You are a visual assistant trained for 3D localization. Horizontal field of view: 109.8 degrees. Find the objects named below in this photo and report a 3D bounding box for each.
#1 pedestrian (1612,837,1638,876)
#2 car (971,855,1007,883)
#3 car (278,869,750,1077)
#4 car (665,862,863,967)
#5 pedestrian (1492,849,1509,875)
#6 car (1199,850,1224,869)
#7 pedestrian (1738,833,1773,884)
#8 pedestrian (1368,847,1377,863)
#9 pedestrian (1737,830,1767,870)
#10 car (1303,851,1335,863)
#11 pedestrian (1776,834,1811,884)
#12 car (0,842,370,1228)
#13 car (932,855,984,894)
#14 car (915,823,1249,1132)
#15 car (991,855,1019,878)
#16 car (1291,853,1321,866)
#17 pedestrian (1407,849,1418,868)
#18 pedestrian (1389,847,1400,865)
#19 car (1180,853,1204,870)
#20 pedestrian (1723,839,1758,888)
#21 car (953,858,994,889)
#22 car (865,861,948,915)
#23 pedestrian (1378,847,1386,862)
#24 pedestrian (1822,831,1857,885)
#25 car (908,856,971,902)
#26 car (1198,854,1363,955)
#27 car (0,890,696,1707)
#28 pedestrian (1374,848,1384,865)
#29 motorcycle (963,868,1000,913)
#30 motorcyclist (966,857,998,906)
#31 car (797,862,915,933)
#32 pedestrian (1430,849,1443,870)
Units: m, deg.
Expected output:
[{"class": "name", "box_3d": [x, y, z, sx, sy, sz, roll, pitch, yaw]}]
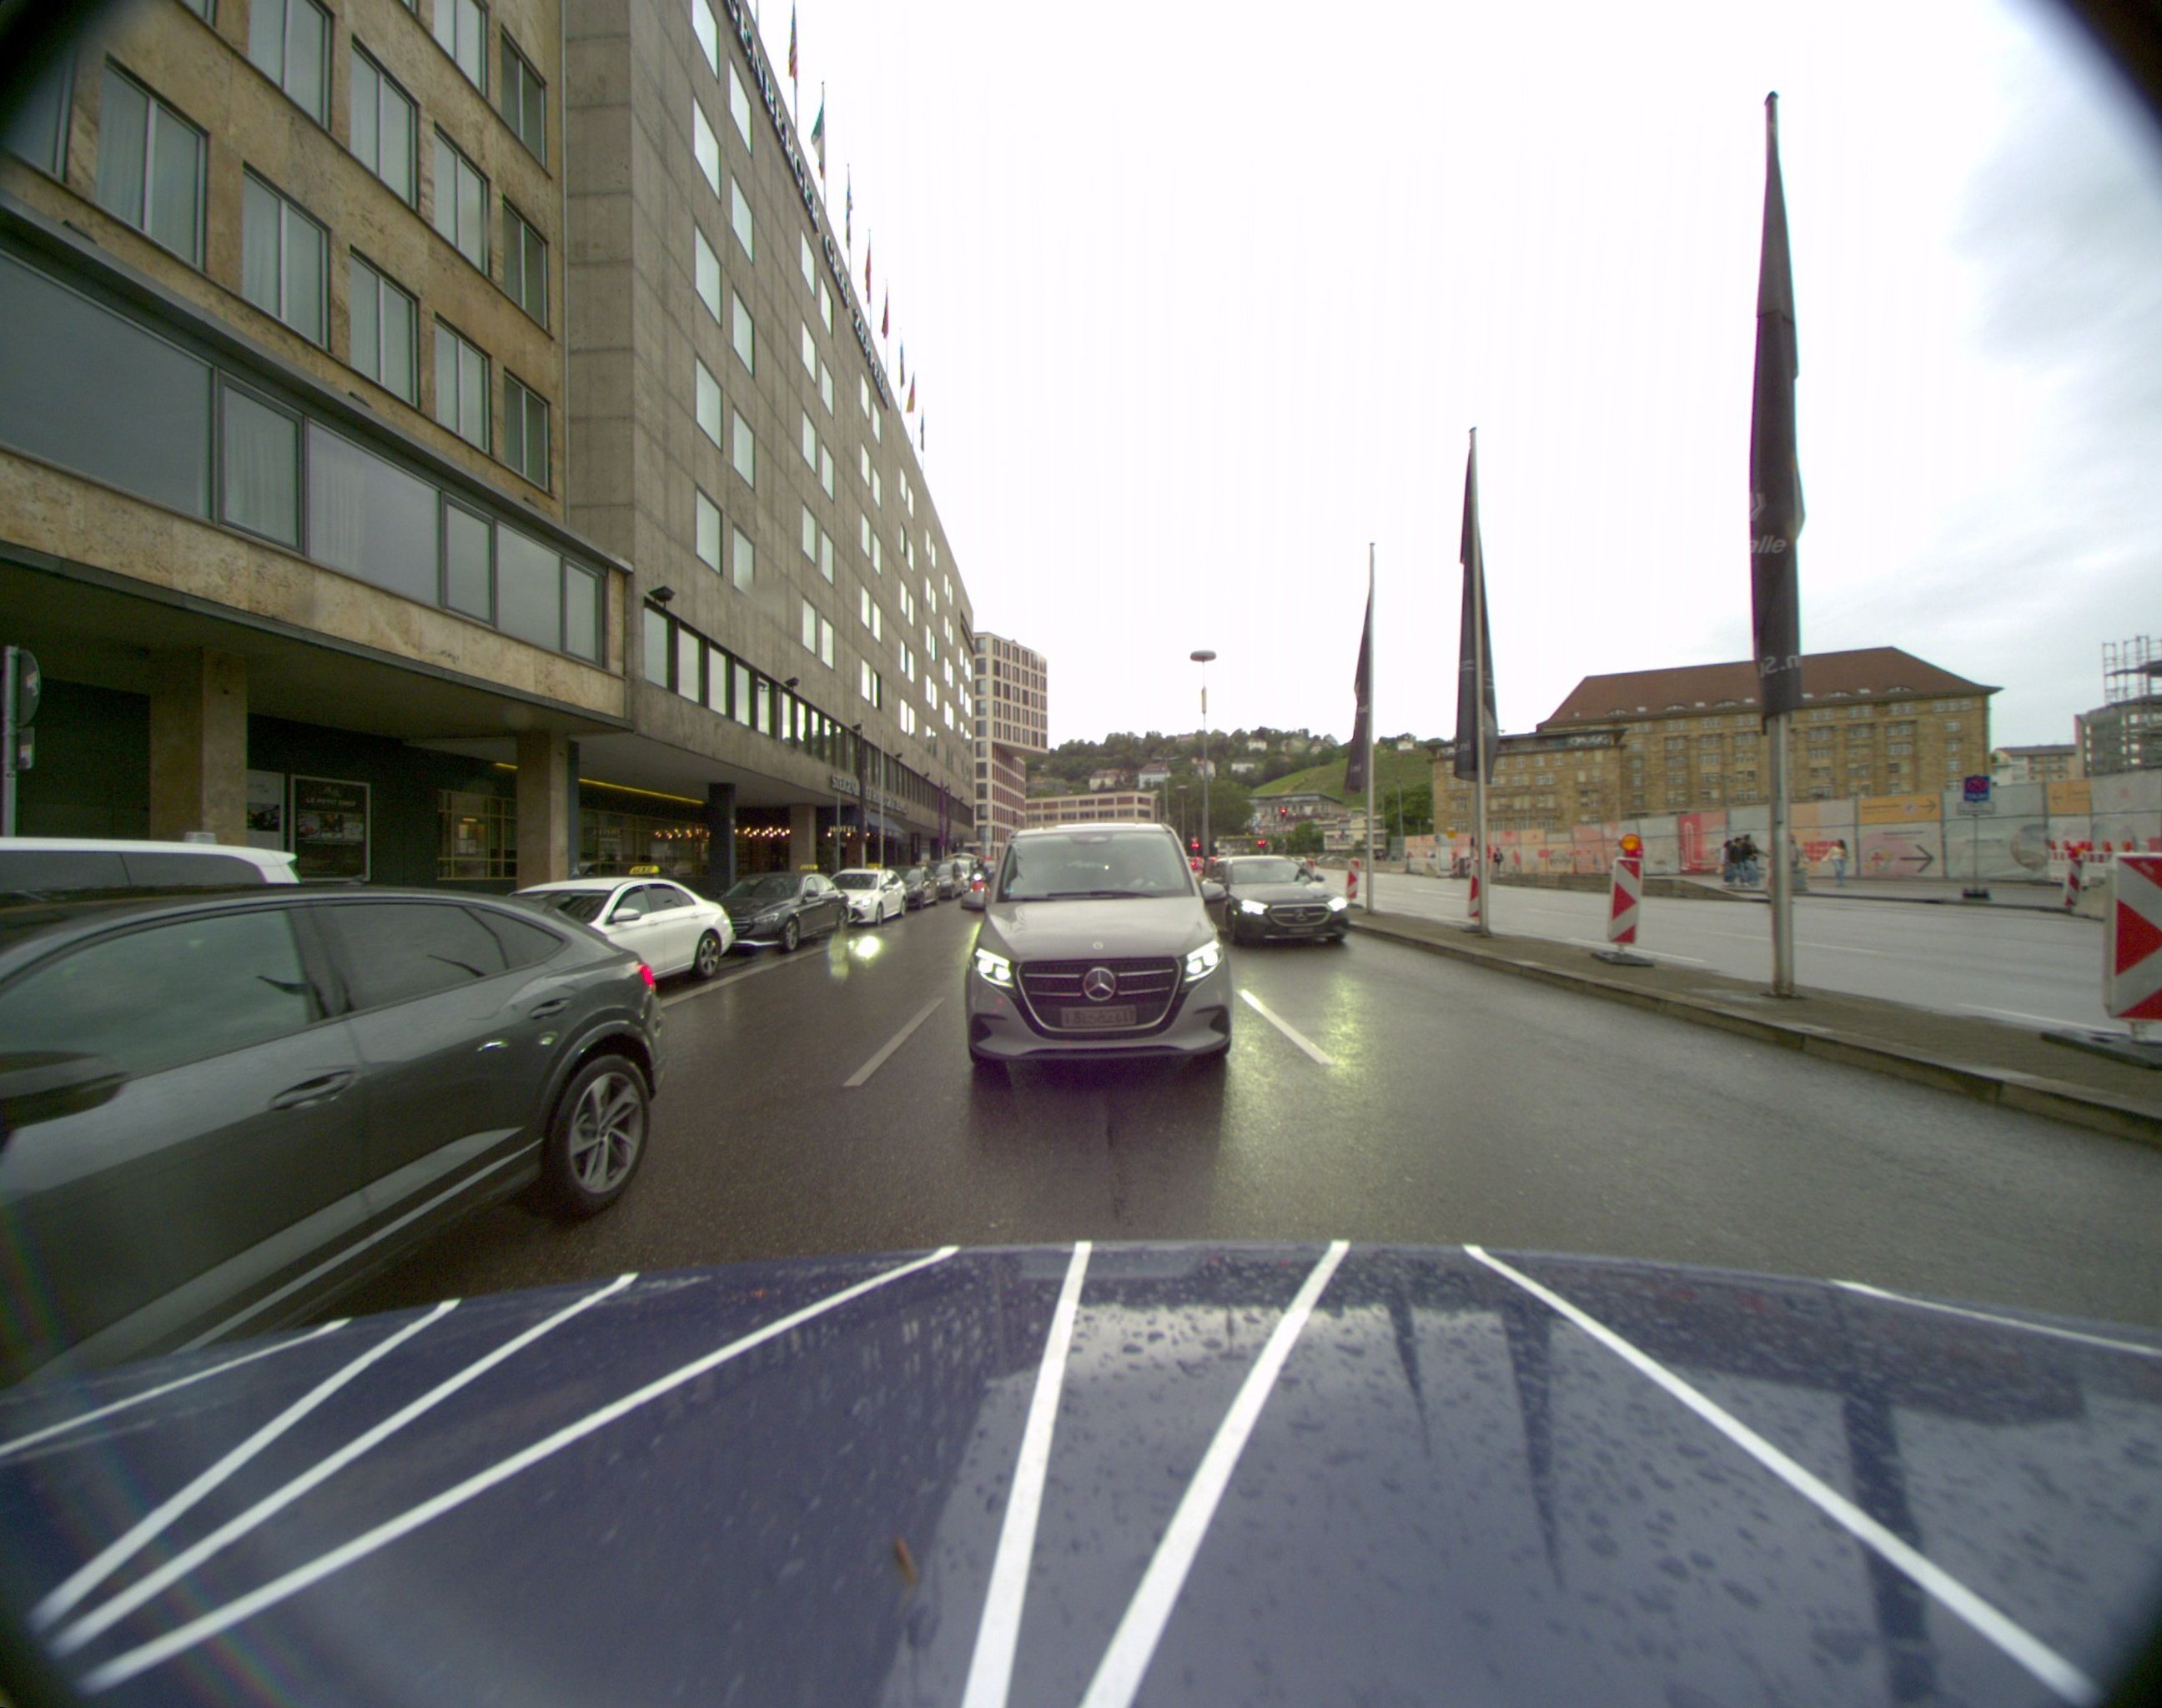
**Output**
[{"class": "pedestrian", "box_3d": [26.159, 0.117, 36.555, 0.664, 1.825, 0.720, -2, 1, 1]}, {"class": "car", "box_3d": [-5.873, 0.914, 48.898, 1.731, 1.604, 4.001, -2, 1, 0]}, {"class": "car", "box_3d": [-6.093, 1.100, 9.218, 1.879, 1.628, 5.010, -2, 1, 0]}, {"class": "car", "box_3d": [-6.076, 1.051, 15.301, 1.879, 1.628, 4.814, -2, 1, 0]}, {"class": "pedestrian", "box_3d": [26.551, 0.527, 48.111, 0.715, 1.606, 0.544, -2, 1, 1]}, {"class": "car", "box_3d": [12.376, 0.500, 72.244, 1.785, 1.684, 3.916, -1, 0, 0]}, {"class": "pedestrian", "box_3d": [24.789, 0.175, 27.925, 0.714, 1.825, 0.718, -2, 1, 19]}, {"class": "pedestrian", "box_3d": [30.764, 0.086, 80.133, 0.715, 1.606, 0.544, -2, 1, 1]}, {"class": "pedestrian", "box_3d": [27.862, -0.170, 31.552, 0.715, 1.606, 0.544, -2, 1, 1]}, {"class": "car", "box_3d": [32.546, 0.426, 104.055, 3.993, 1.622, 2.002, -1, 0, 14]}, {"class": "pedestrian", "box_3d": [25.343, 0.179, 27.028, 0.714, 1.734, 0.564, -2, 1, 21]}, {"class": "car", "box_3d": [-6.324, 0.935, 3.215, 1.879, 1.909, 4.935, -2, 1, 0]}, {"class": "car", "box_3d": [-6.090, 0.957, 38.212, 1.731, 1.732, 4.814, -2, 1, 0]}, {"class": "car", "box_3d": [0.047, 0.749, 7.297, 1.998, 1.849, 5.160, -2, 1, 1]}, {"class": "car", "box_3d": [-5.904, 0.964, 59.219, 1.731, 1.604, 4.001, -2, 1, 0]}, {"class": "car", "box_3d": [34.799, 0.811, 117.595, 4.194, 1.846, 1.832, -2, 1, 6]}, {"class": "pedestrian", "box_3d": [28.913, 0.361, 66.279, 0.715, 1.606, 0.544, -2, 1, 1]}, {"class": "pedestrian", "box_3d": [28.128, 0.146, 68.200, 0.715, 1.606, 0.544, -2, 1, 1]}, {"class": "car", "box_3d": [11.655, 0.791, 80.111, 1.785, 1.684, 3.916, -2, 1, -1]}, {"class": "pedestrian", "box_3d": [23.805, 0.351, 27.430, 0.714, 1.723, 0.718, -2, 1, 19]}, {"class": "car", "box_3d": [-6.126, 1.065, 43.720, 1.731, 1.604, 4.001, -2, 1, 0]}, {"class": "car", "box_3d": [-6.045, 1.121, 26.844, 1.731, 1.583, 4.814, -2, 1, 0]}, {"class": "pedestrian", "box_3d": [33.236, 0.035, 83.888, 0.715, 1.606, 0.544, -2, 1, 10]}, {"class": "pedestrian", "box_3d": [26.213, 0.140, 26.259, 0.661, 1.825, 0.556, -2, 1, 21]}, {"class": "car", "box_3d": [-6.053, 0.997, 33.015, 1.731, 1.732, 4.814, -2, 1, 0]}, {"class": "car", "box_3d": [3.442, 0.787, 14.047, 1.860, 1.461, 4.586, -2, 1, 1]}, {"class": "car", "box_3d": [-3.116, 0.996, 1.981, 1.883, 1.493, 4.342, -2, 1, 1]}, {"class": "pedestrian", "box_3d": [29.287, 0.265, 74.650, 0.715, 1.606, 0.544, -2, 1, 1]}, {"class": "motorcycle", "box_3d": [-3.170, 1.141, 24.435, 0.848, 1.299, 1.965, -2, 1, 1]}, {"class": "motorcyclist", "box_3d": [-3.182, 0.883, 24.465, 0.861, 1.519, 0.844, -2, 1, 1]}, {"class": "car", "box_3d": [-6.043, 1.091, 21.029, 1.731, 1.583, 4.814, -2, 1, 0]}, {"class": "pedestrian", "box_3d": [28.648, 0.436, 61.192, 0.715, 1.606, 0.544, -2, 1, 1]}]
